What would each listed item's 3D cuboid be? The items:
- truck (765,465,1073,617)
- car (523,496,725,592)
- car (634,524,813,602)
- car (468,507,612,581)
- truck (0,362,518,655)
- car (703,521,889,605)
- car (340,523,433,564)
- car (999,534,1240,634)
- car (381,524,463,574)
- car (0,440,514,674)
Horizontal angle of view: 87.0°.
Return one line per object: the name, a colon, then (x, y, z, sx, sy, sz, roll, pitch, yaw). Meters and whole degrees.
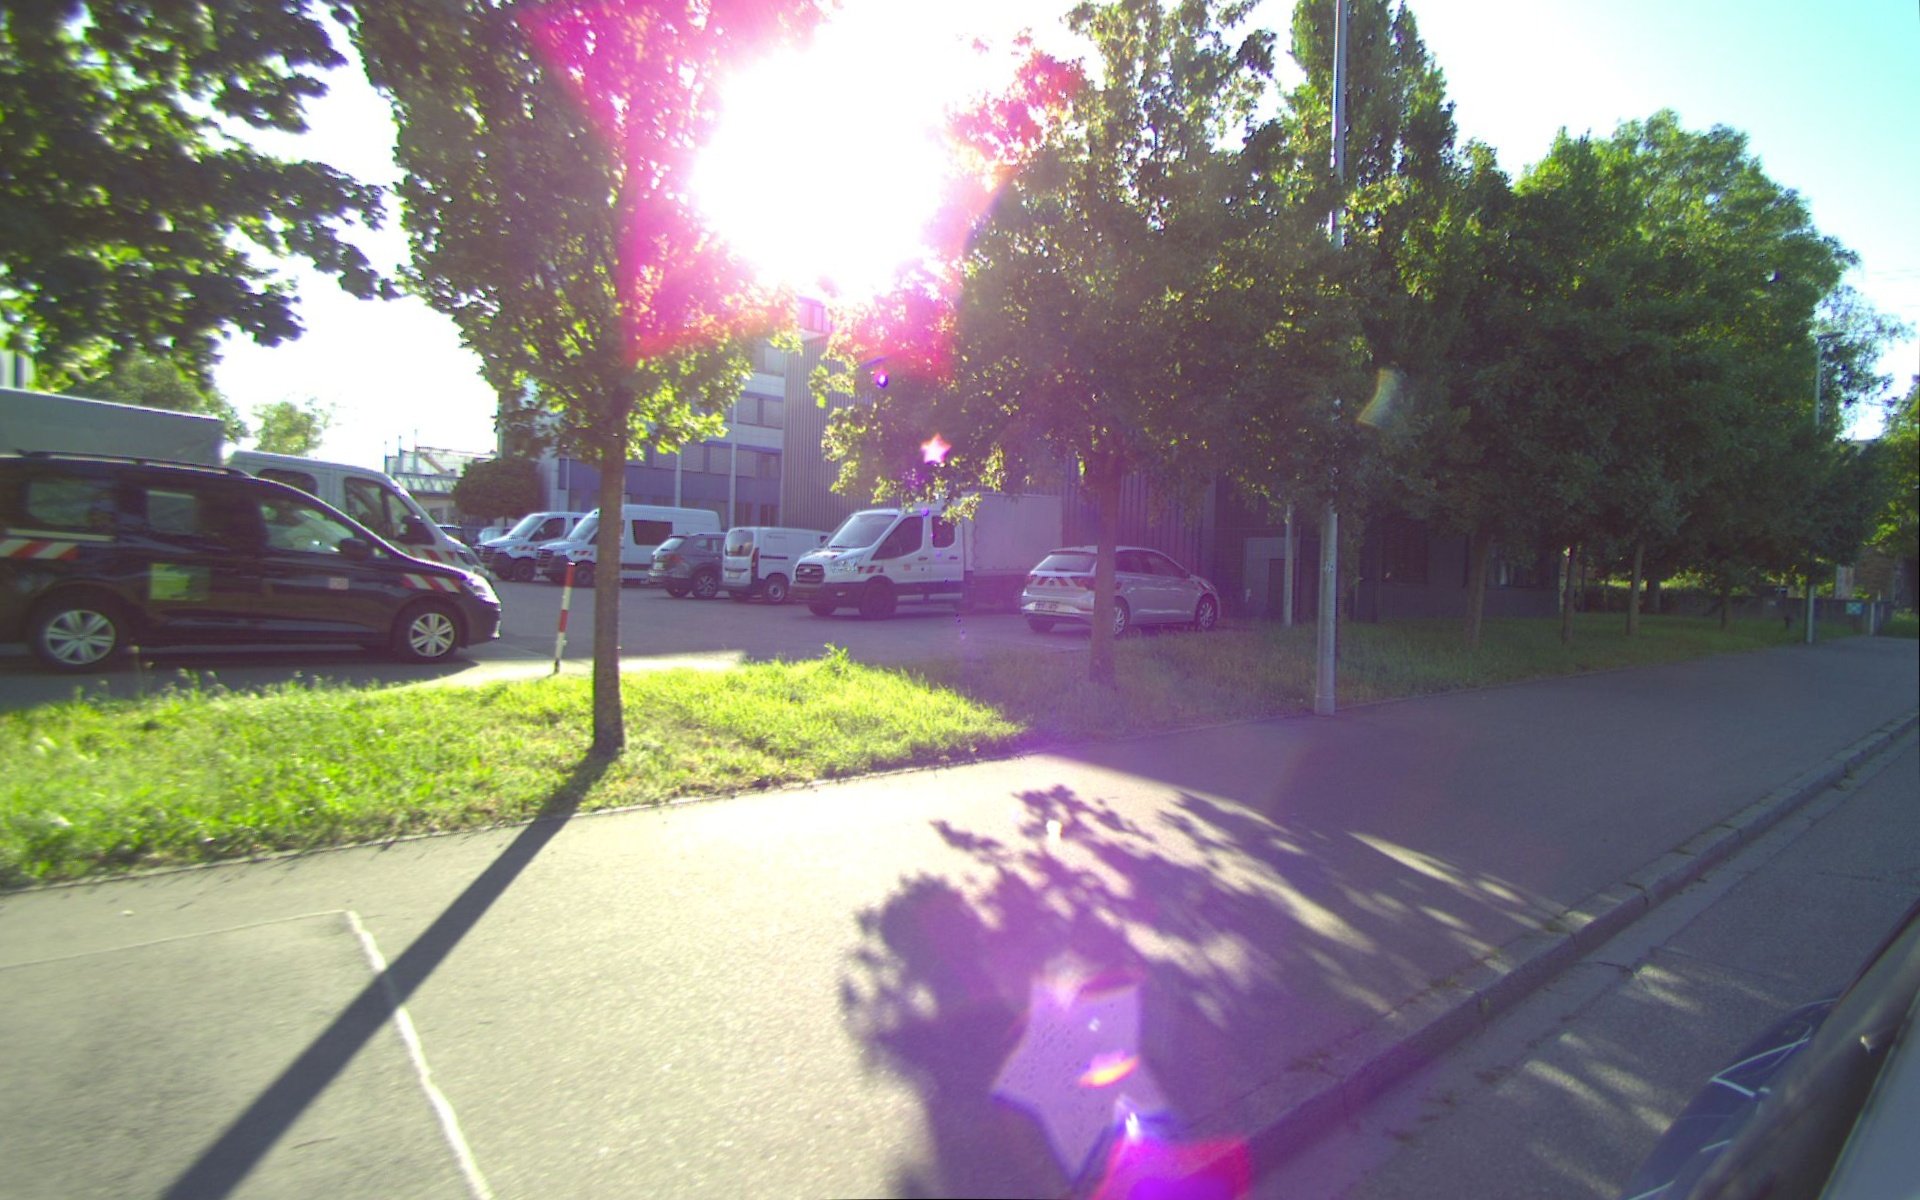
truck: (-0.673, -1.107, 20.928, 6.290, 2.711, 2.285, -2, 0, -41)
car: (-10.499, -1.741, 32.018, 5.846, 2.781, 1.838, -2, 4, -44)
car: (-6.098, -0.974, 26.376, 4.208, 1.865, 1.838, -2, 4, -43)
car: (-13.644, -1.762, 32.970, 3.931, 2.216, 1.903, -2, 0, -41)
truck: (-9.058, -0.899, 11.966, 2.359, 2.874, 6.642, -1, -1, 44)
car: (-3.973, -0.926, 24.879, 4.208, 1.896, 1.838, -2, 4, -43)
car: (-29.850, -2.911, 52.722, 3.930, 1.985, 1.997, -2, 0, -40)
car: (2.783, -0.273, 17.112, 4.208, 1.485, 1.837, -2, 0, -43)
car: (-22.226, -2.048, 41.751, 3.984, 1.846, 1.762, -1, 0, 42)
car: (-7.021, -0.366, 9.803, 1.835, 1.837, 4.593, -1, 0, 44)
